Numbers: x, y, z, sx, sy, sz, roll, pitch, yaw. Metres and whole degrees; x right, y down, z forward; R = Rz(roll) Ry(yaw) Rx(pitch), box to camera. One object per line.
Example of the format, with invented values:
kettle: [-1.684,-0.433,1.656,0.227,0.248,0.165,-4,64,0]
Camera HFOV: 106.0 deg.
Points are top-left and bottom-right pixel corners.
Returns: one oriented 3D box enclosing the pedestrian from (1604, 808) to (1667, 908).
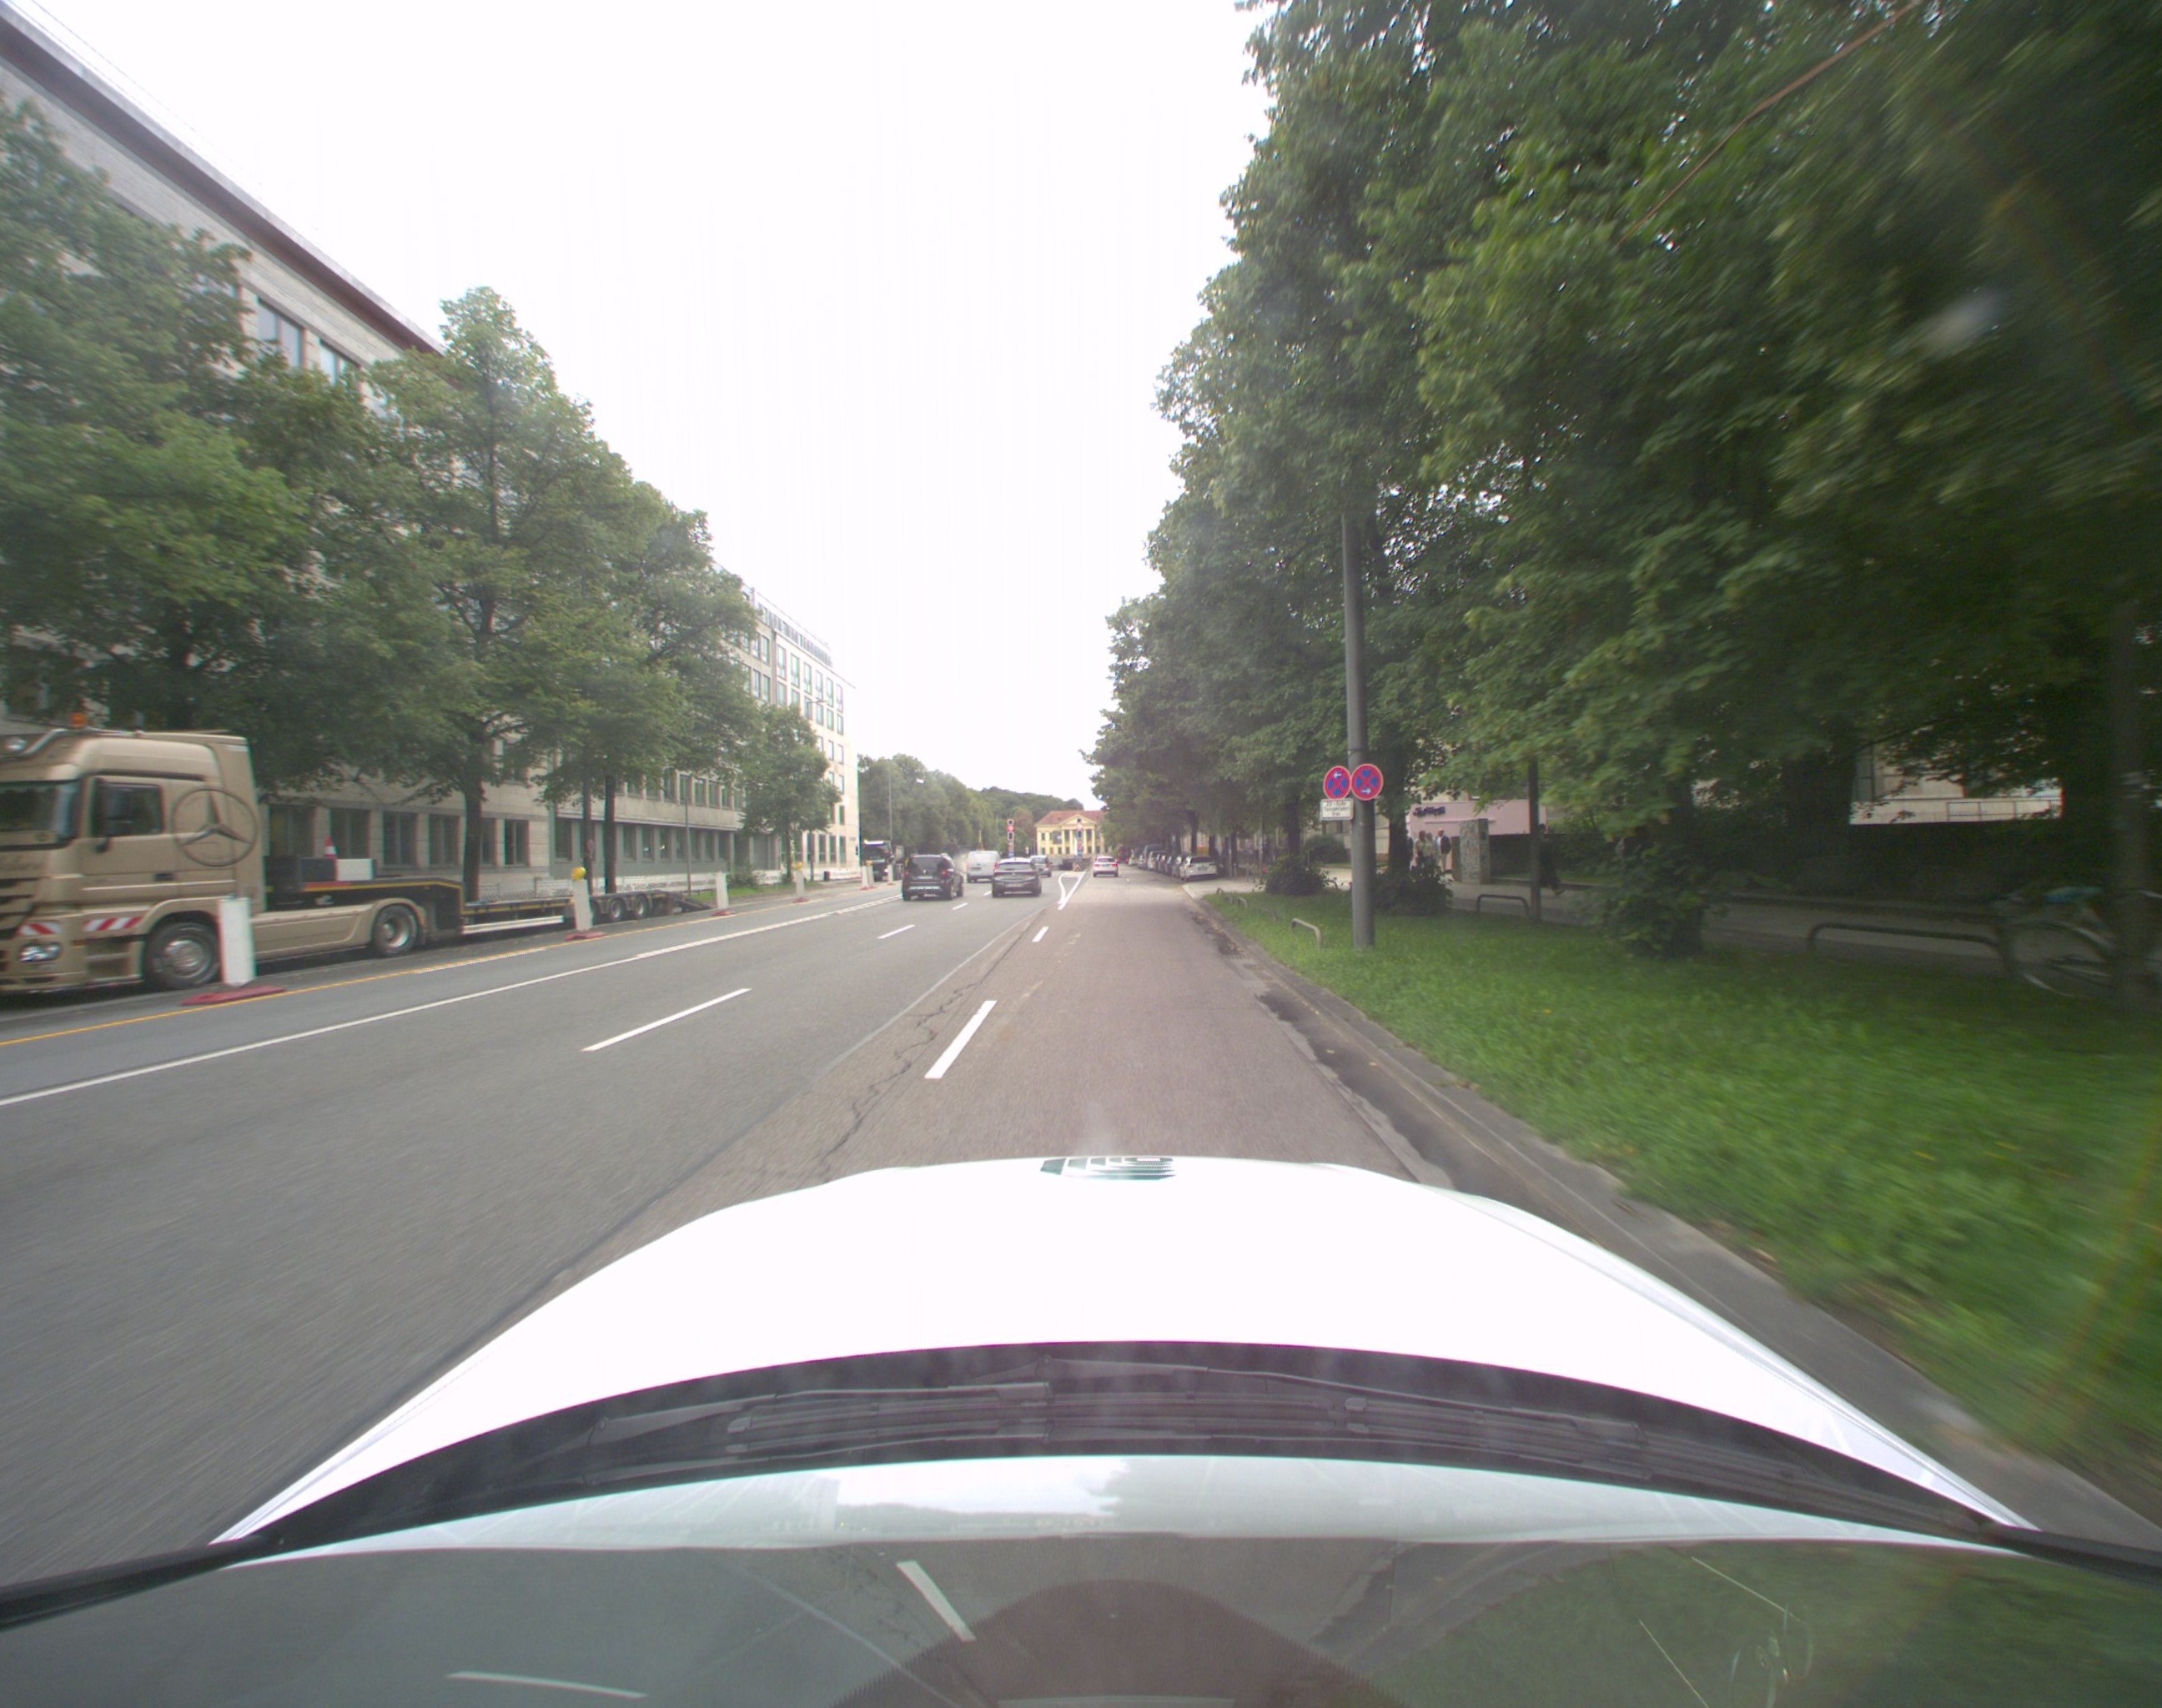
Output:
pedestrian: [9.550,0.064,14.049,0.605,1.681,0.754,0,0,5]

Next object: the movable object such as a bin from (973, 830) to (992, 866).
movable object such as a bin: [-18.155,-1.105,150.525,2.689,6.511,5.177,0,0,1]

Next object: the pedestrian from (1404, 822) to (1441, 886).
pedestrian: [11.125,-0.010,26.573,0.760,2.013,0.777,-4,-1,2]

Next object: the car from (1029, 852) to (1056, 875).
car: [-2.794,0.699,60.025,1.773,1.654,4.000,0,0,1]

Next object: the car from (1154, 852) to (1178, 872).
car: [7.343,0.683,70.694,1.718,1.665,4.592,-2,0,2]

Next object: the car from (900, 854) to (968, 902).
car: [-5.459,0.874,30.731,1.716,1.636,4.205,-2,-1,1]

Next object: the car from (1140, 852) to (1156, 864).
car: [8.080,0.521,98.410,1.718,1.324,4.029,-2,0,2]

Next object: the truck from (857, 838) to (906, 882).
truck: [-16.220,0.492,66.623,2.838,3.357,8.743,0,0,-7]

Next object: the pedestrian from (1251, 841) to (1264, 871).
pedestrian: [11.587,0.122,53.492,0.696,1.910,0.771,0,-1,2]

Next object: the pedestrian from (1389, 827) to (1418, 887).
pedestrian: [11.085,0.109,28.027,0.592,2.013,0.725,-4,-1,2]

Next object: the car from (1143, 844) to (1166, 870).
car: [7.635,0.283,85.429,1.987,2.643,4.877,0,0,0]

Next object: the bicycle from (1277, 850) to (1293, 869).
bicycle: [16.080,0.441,64.279,0.696,1.415,2.299,-2,0,2]

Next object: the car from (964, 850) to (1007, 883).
car: [-5.769,0.763,49.595,1.892,1.847,4.956,-2,-1,1]

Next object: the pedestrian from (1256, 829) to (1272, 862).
pedestrian: [10.460,-0.479,46.562,0.776,1.910,0.771,0,-1,2]

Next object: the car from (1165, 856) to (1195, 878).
car: [7.147,0.946,59.234,1.718,1.464,4.778,-2,0,2]

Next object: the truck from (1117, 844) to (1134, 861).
truck: [9.237,-0.281,169.341,3.313,3.367,8.665,0,0,1]

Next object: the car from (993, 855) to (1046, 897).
car: [-2.373,0.824,32.258,1.704,1.552,4.001,0,0,1]

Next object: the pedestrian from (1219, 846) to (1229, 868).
pedestrian: [12.507,0.272,71.116,0.776,1.910,0.771,0,-1,2]

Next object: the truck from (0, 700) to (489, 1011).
truck: [-14.075,0.031,13.669,2.909,3.775,7.657,0,0,-3]

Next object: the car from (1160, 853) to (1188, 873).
car: [7.359,0.711,64.798,1.816,1.464,4.029,-2,0,2]

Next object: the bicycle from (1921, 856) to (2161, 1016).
bicycle: [7.086,0.523,5.665,0.383,1.021,2.080,0,0,2]

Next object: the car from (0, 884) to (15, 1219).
car: [-5.611,0.860,1.433,1.786,1.447,4.275,-2,-1,1]

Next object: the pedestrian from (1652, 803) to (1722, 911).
pedestrian: [10.155,0.054,13.673,0.605,1.763,0.798,0,0,5]

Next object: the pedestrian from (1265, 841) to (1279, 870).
pedestrian: [12.527,0.102,53.360,0.761,1.910,0.771,0,-1,2]

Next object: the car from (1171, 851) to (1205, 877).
car: [6.919,0.609,52.886,1.718,1.549,4.587,-2,0,2]

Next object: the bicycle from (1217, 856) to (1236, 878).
bicycle: [8.338,0.707,46.687,0.626,1.231,2.617,0,0,0]

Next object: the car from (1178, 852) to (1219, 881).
car: [6.777,0.697,47.377,1.820,1.549,4.754,-2,0,2]

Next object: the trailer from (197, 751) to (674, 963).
trailer: [-14.340,0.069,20.310,2.942,3.740,11.759,0,0,-3]

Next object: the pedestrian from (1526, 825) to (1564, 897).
pedestrian: [11.008,0.158,19.332,0.577,1.675,0.554,0,-1,5]

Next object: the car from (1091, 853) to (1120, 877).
car: [1.721,0.746,58.529,1.776,1.644,3.994,0,0,-4]

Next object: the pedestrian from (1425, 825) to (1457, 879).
pedestrian: [12.547,-0.063,28.401,0.597,1.809,0.719,-3,-1,-23]

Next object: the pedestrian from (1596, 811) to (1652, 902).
pedestrian: [10.853,0.058,16.295,0.627,1.774,0.783,0,0,5]

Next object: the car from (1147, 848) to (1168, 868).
car: [7.301,0.364,78.350,1.718,1.867,4.029,-2,0,2]

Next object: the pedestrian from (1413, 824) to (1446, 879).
pedestrian: [11.792,-0.069,27.587,0.597,1.809,0.719,-3,-1,-23]

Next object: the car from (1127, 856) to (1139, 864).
car: [8.414,0.979,132.219,1.718,1.324,4.029,-2,0,2]
